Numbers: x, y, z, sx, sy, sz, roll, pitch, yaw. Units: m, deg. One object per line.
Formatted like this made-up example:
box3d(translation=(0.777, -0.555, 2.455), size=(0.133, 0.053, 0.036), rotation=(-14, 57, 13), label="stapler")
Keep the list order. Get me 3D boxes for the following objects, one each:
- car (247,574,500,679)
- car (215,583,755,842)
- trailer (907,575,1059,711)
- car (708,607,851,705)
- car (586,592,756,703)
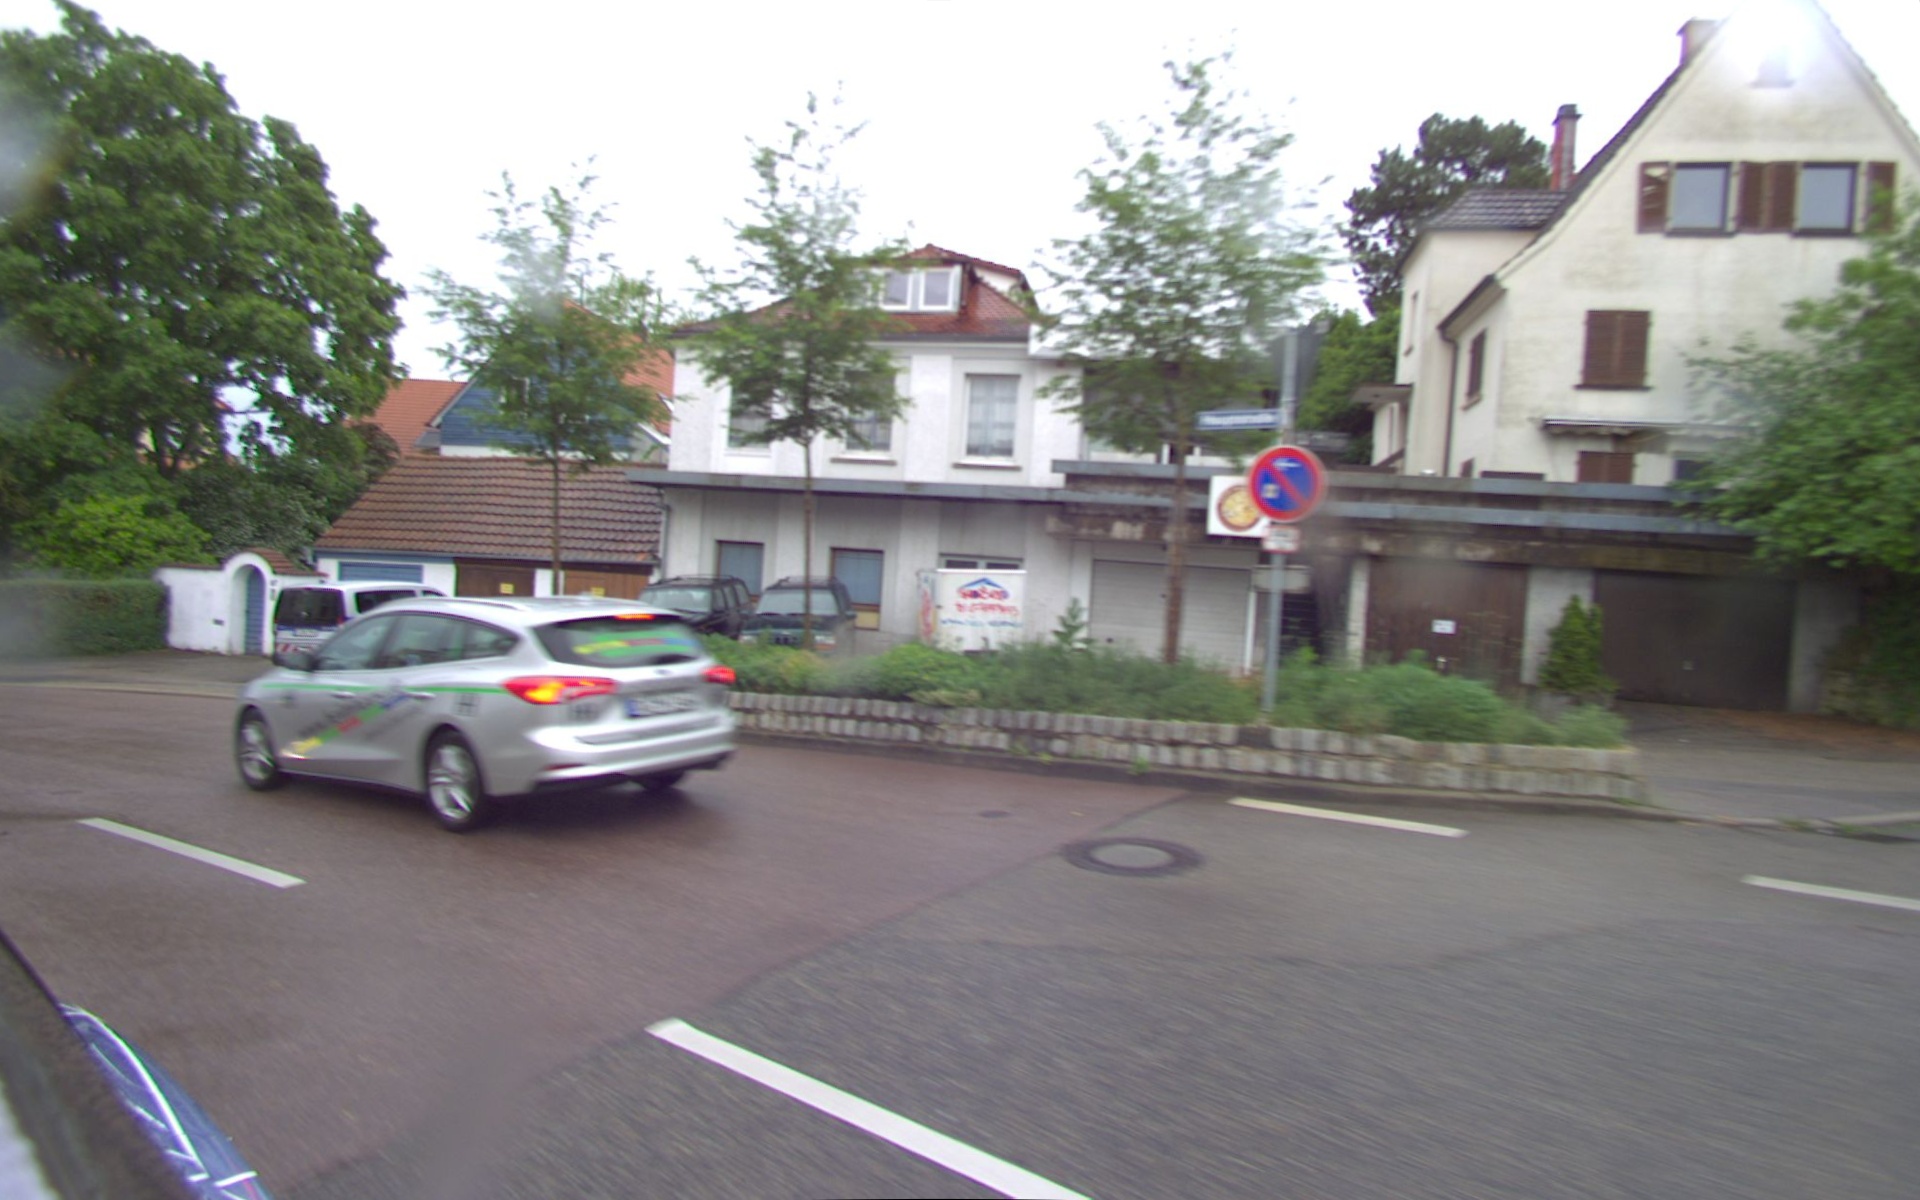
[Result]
box3d(translation=(-11.211, 0.448, 19.707), size=(1.981, 1.813, 4.100), rotation=(0, 0, 14), label="car")
box3d(translation=(-3.593, 0.629, 7.383), size=(4.224, 1.424, 1.583), rotation=(-1, 0, 33), label="car")
box3d(translation=(0.280, 0.726, 17.887), size=(1.922, 2.118, 3.969), rotation=(1, -1, -10), label="trailer")
box3d(translation=(-3.023, 0.894, 17.593), size=(1.814, 1.496, 3.344), rotation=(0, 0, 2), label="car")
box3d(translation=(-5.160, 0.764, 18.635), size=(1.776, 1.787, 4.086), rotation=(0, 1, 3), label="car")
